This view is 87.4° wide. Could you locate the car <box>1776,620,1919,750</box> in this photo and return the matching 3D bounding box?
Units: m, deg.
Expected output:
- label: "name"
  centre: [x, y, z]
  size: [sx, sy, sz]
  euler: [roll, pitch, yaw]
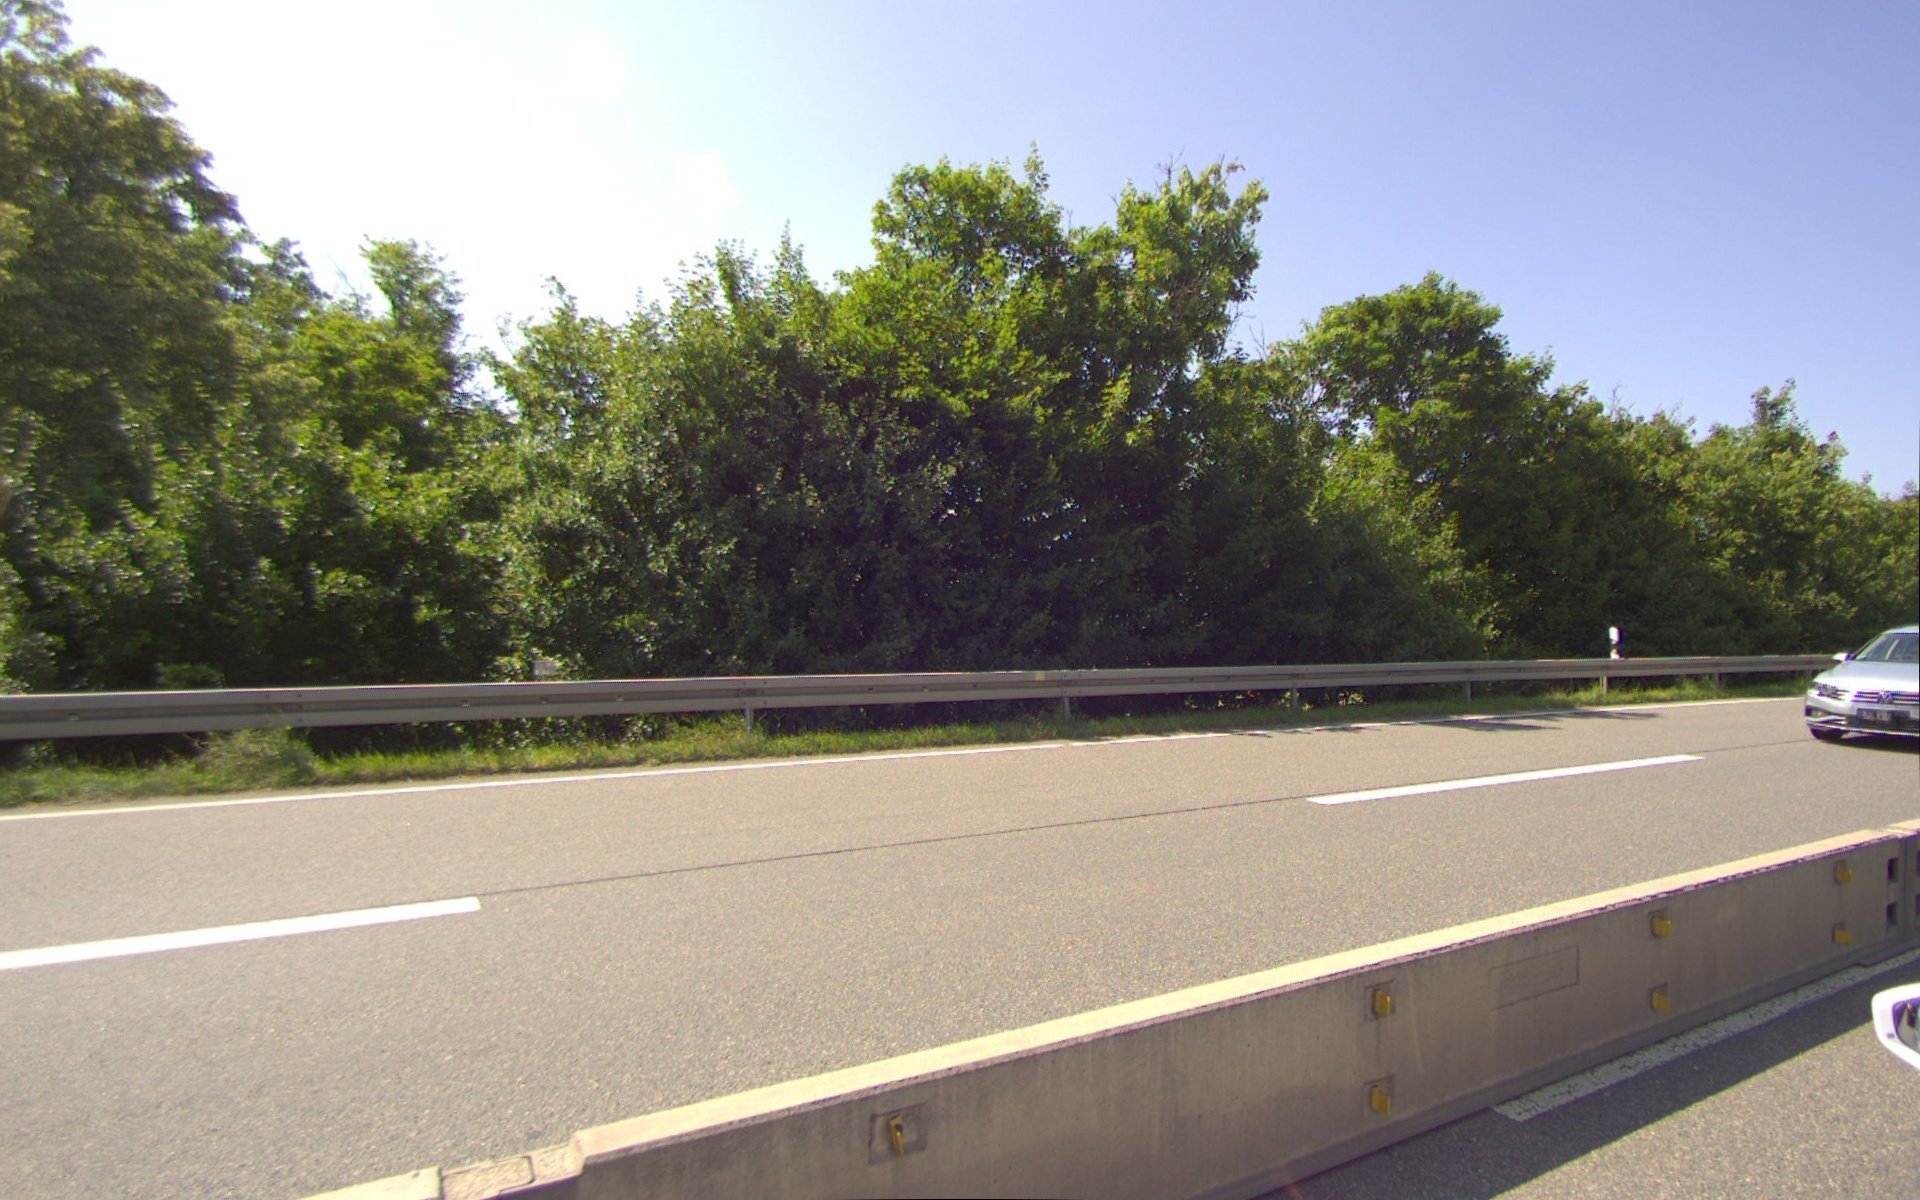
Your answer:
- label: "car"
  centre: [12.430, 1.004, 12.710]
  size: [4.303, 1.440, 1.939]
  euler: [1, 0, -31]
